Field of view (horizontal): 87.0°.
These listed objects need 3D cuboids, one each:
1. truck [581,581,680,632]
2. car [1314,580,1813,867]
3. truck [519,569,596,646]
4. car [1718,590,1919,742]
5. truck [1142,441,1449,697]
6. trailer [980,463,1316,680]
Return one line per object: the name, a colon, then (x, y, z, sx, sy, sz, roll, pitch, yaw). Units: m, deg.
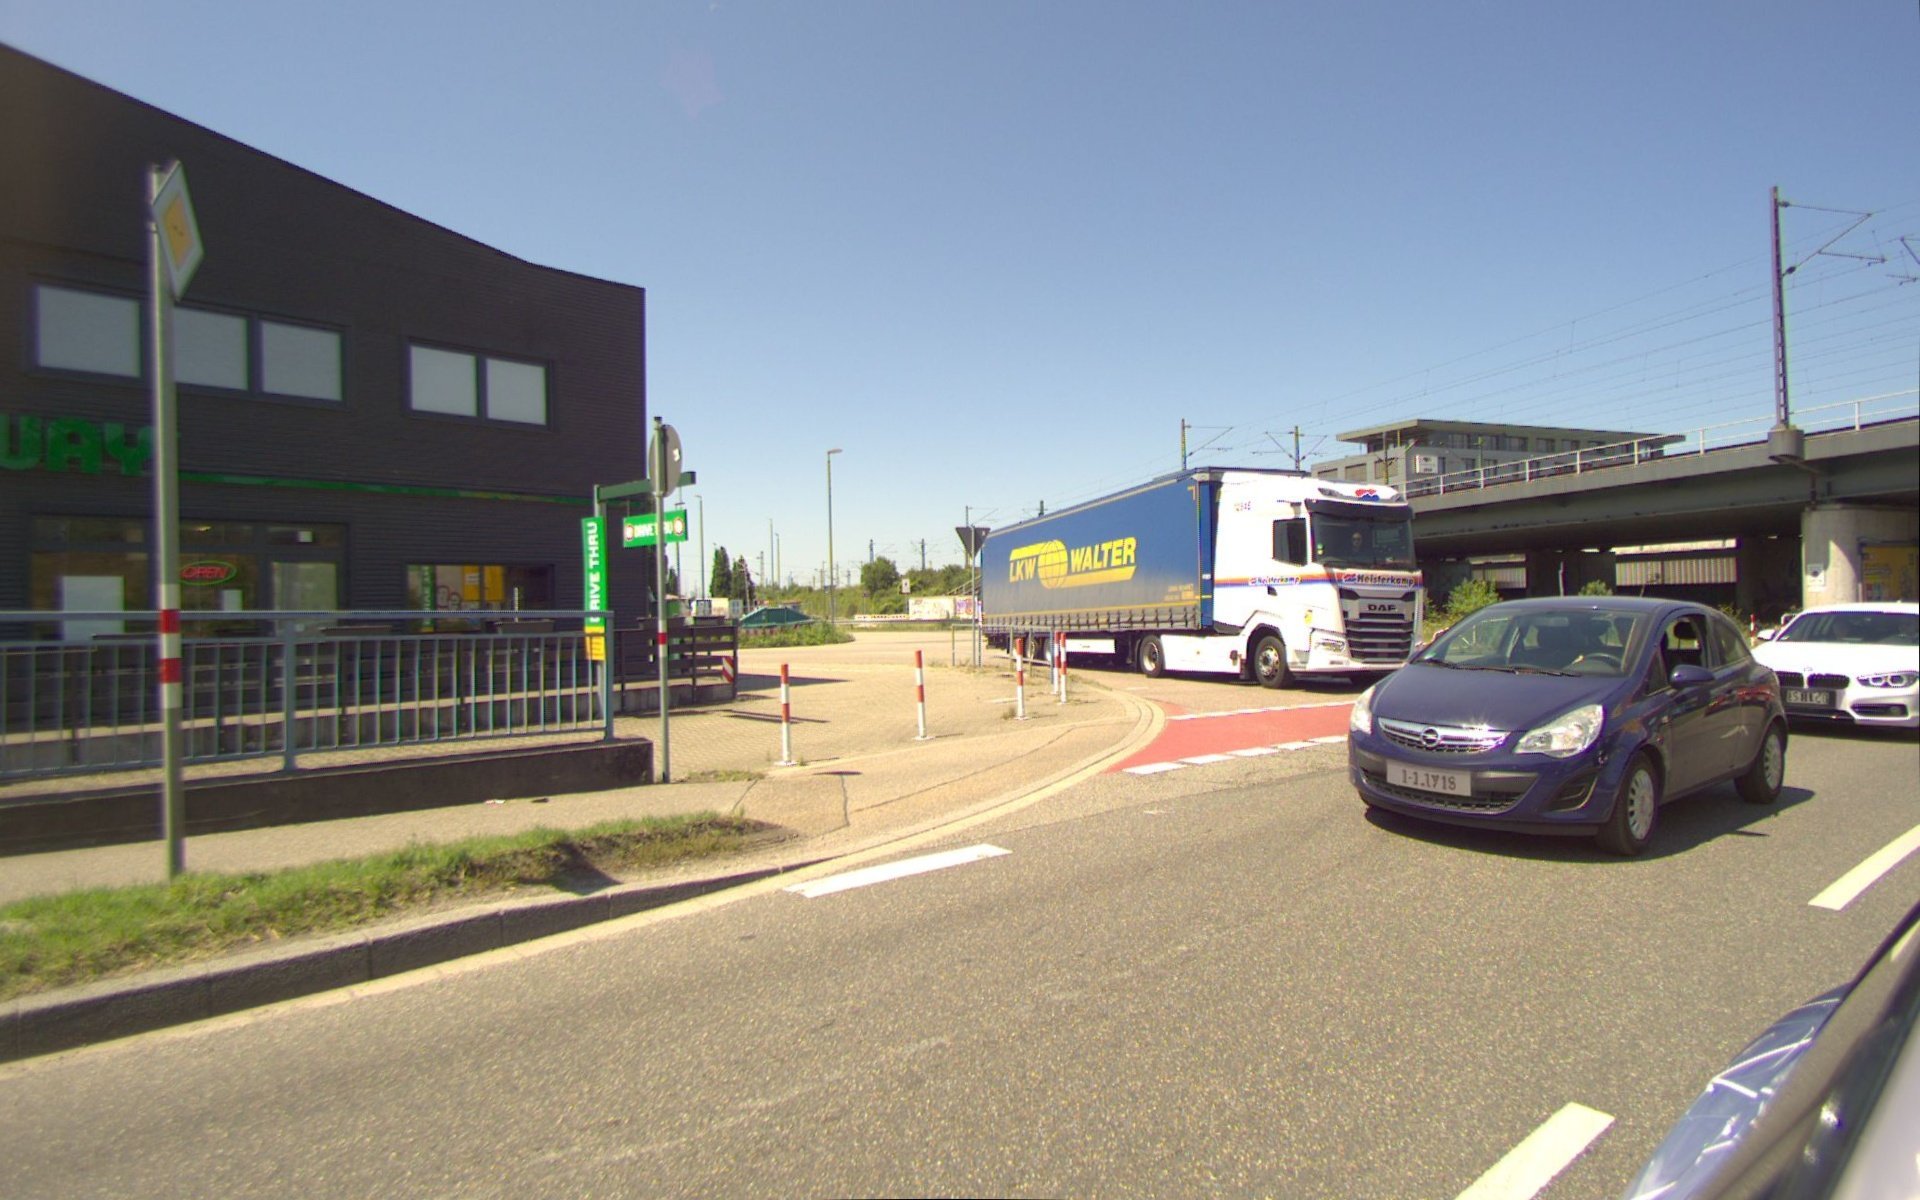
truck: (-23.314, 0.411, 72.030, 2.768, 3.411, 7.509, 0, 0, 20)
car: (4.279, 0.641, 6.979, 3.818, 1.462, 1.650, 0, 0, -37)
truck: (-19.610, 0.342, 49.057, 2.667, 3.424, 7.411, 0, 0, -28)
car: (10.670, 0.642, 11.769, 3.975, 1.461, 1.765, 0, 2, -34)
truck: (6.144, -0.539, 19.559, 2.522, 4.153, 5.774, 0, 0, -21)
trailer: (3.843, -0.474, 26.349, 2.447, 4.142, 13.931, 0, -1, -17)
